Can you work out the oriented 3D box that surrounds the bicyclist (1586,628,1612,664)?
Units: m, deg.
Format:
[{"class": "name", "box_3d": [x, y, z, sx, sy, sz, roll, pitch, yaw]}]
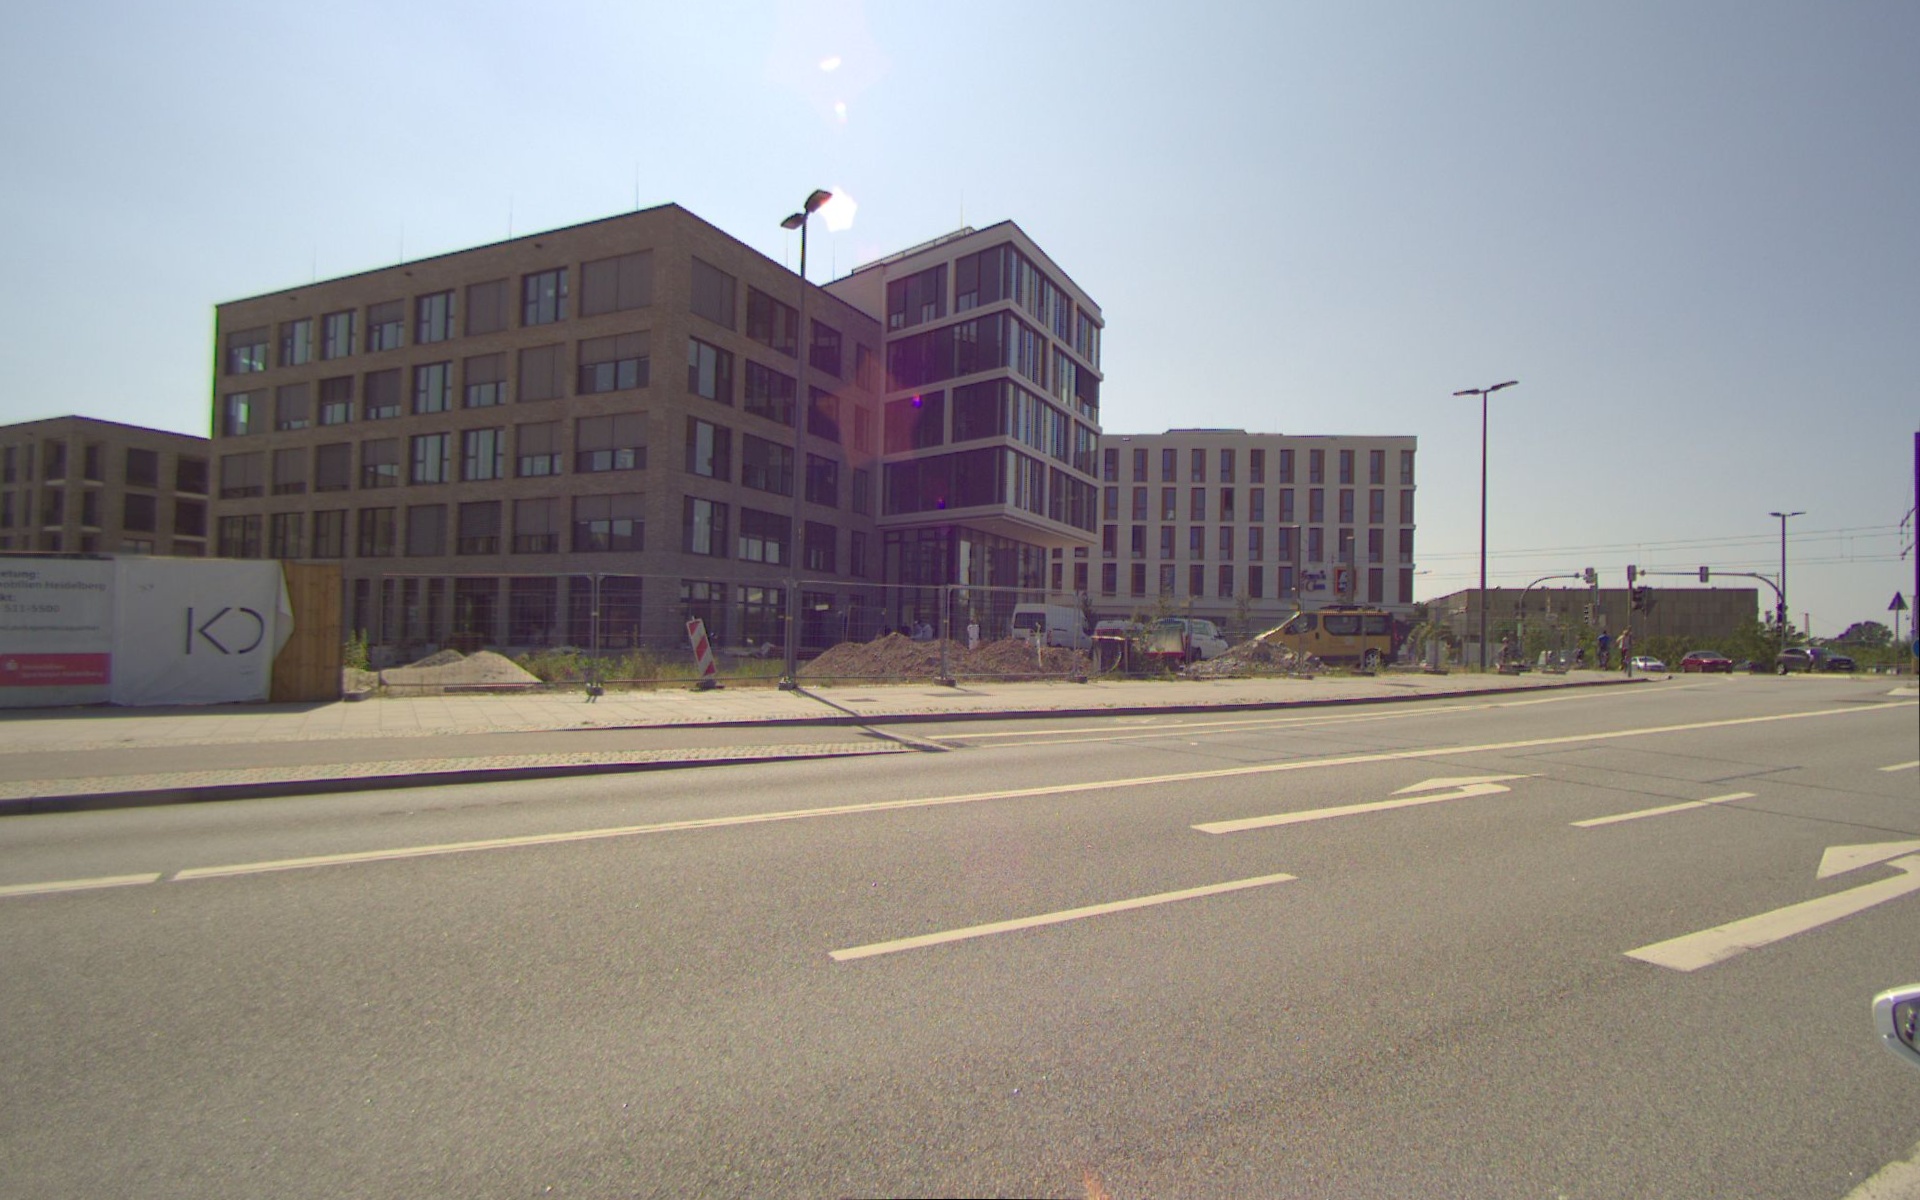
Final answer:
[{"class": "bicyclist", "box_3d": [28.798, 2.075, 45.298, 0.847, 1.580, 0.824, 2, 0, 26]}]

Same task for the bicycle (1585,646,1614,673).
[{"class": "bicycle", "box_3d": [28.877, 2.682, 45.391, 0.715, 1.148, 2.530, -5, -4, 26]}]

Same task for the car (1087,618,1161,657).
[{"class": "car", "box_3d": [7.182, 1.605, 43.733, 1.773, 1.528, 3.991, 2, 0, 31]}]

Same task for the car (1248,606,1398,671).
[{"class": "car", "box_3d": [12.103, 1.252, 33.765, 4.395, 1.915, 2.001, 2, 0, 8]}]

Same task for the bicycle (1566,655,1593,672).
[{"class": "bicycle", "box_3d": [30.196, 3.099, 49.010, 0.505, 0.701, 2.254, 1, -1, 16]}]

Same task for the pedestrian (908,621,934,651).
[{"class": "pedestrian", "box_3d": [-1.918, 1.765, 49.402, 1.099, 1.391, 0.742, 2, 0, -17]}]

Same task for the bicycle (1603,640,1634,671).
[{"class": "bicycle", "box_3d": [26.247, 2.198, 40.007, 0.667, 1.142, 2.353, 2, 0, 42]}]

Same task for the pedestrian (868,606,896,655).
[{"class": "pedestrian", "box_3d": [-3.369, 1.321, 43.353, 0.949, 2.040, 0.940, 2, 0, -17]}]

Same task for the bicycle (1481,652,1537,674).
[{"class": "bicycle", "box_3d": [28.572, 3.274, 52.307, 2.475, 1.020, 0.602, 1, -3, 41]}]

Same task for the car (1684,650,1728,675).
[{"class": "car", "box_3d": [50.768, 4.228, 68.392, 1.653, 1.475, 3.996, 2, 0, 26]}]

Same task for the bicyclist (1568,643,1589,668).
[{"class": "bicyclist", "box_3d": [30.134, 2.700, 48.971, 0.716, 1.190, 0.659, 0, -2, 16]}]

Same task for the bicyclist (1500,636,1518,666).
[{"class": "bicyclist", "box_3d": [28.612, 2.661, 52.364, 0.649, 1.522, 0.839, 2, 0, 41]}]

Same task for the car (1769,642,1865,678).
[{"class": "car", "box_3d": [48.914, 3.367, 57.428, 1.685, 1.764, 4.210, 2, 0, -4]}]

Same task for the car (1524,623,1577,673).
[{"class": "car", "box_3d": [26.162, 2.082, 44.575, 1.644, 2.040, 3.996, 2, 0, 26]}]

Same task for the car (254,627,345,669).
[{"class": "car", "box_3d": [-30.413, 2.173, 46.222, 3.708, 1.675, 1.834, 2, 0, 26]}]

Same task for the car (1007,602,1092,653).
[{"class": "car", "box_3d": [4.047, 1.228, 44.702, 2.175, 2.083, 4.164, 2, 0, 30]}]

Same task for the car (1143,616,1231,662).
[{"class": "car", "box_3d": [9.585, 1.620, 42.163, 1.969, 1.730, 4.546, 2, 0, 35]}]

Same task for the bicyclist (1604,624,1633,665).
[{"class": "bicyclist", "box_3d": [26.188, 1.769, 39.929, 0.811, 1.589, 0.943, 2, 0, 42]}]

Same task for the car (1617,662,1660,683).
[{"class": "car", "box_3d": [53.461, 5.680, 79.176, 1.736, 1.350, 3.716, 2, 0, 16]}]

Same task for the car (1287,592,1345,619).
[{"class": "car", "box_3d": [29.032, 0.420, 82.029, 1.986, 2.040, 3.949, 2, 0, -43]}]

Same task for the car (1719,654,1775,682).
[{"class": "car", "box_3d": [62.946, 5.411, 80.414, 1.959, 2.040, 4.003, 1, -1, 11]}]
